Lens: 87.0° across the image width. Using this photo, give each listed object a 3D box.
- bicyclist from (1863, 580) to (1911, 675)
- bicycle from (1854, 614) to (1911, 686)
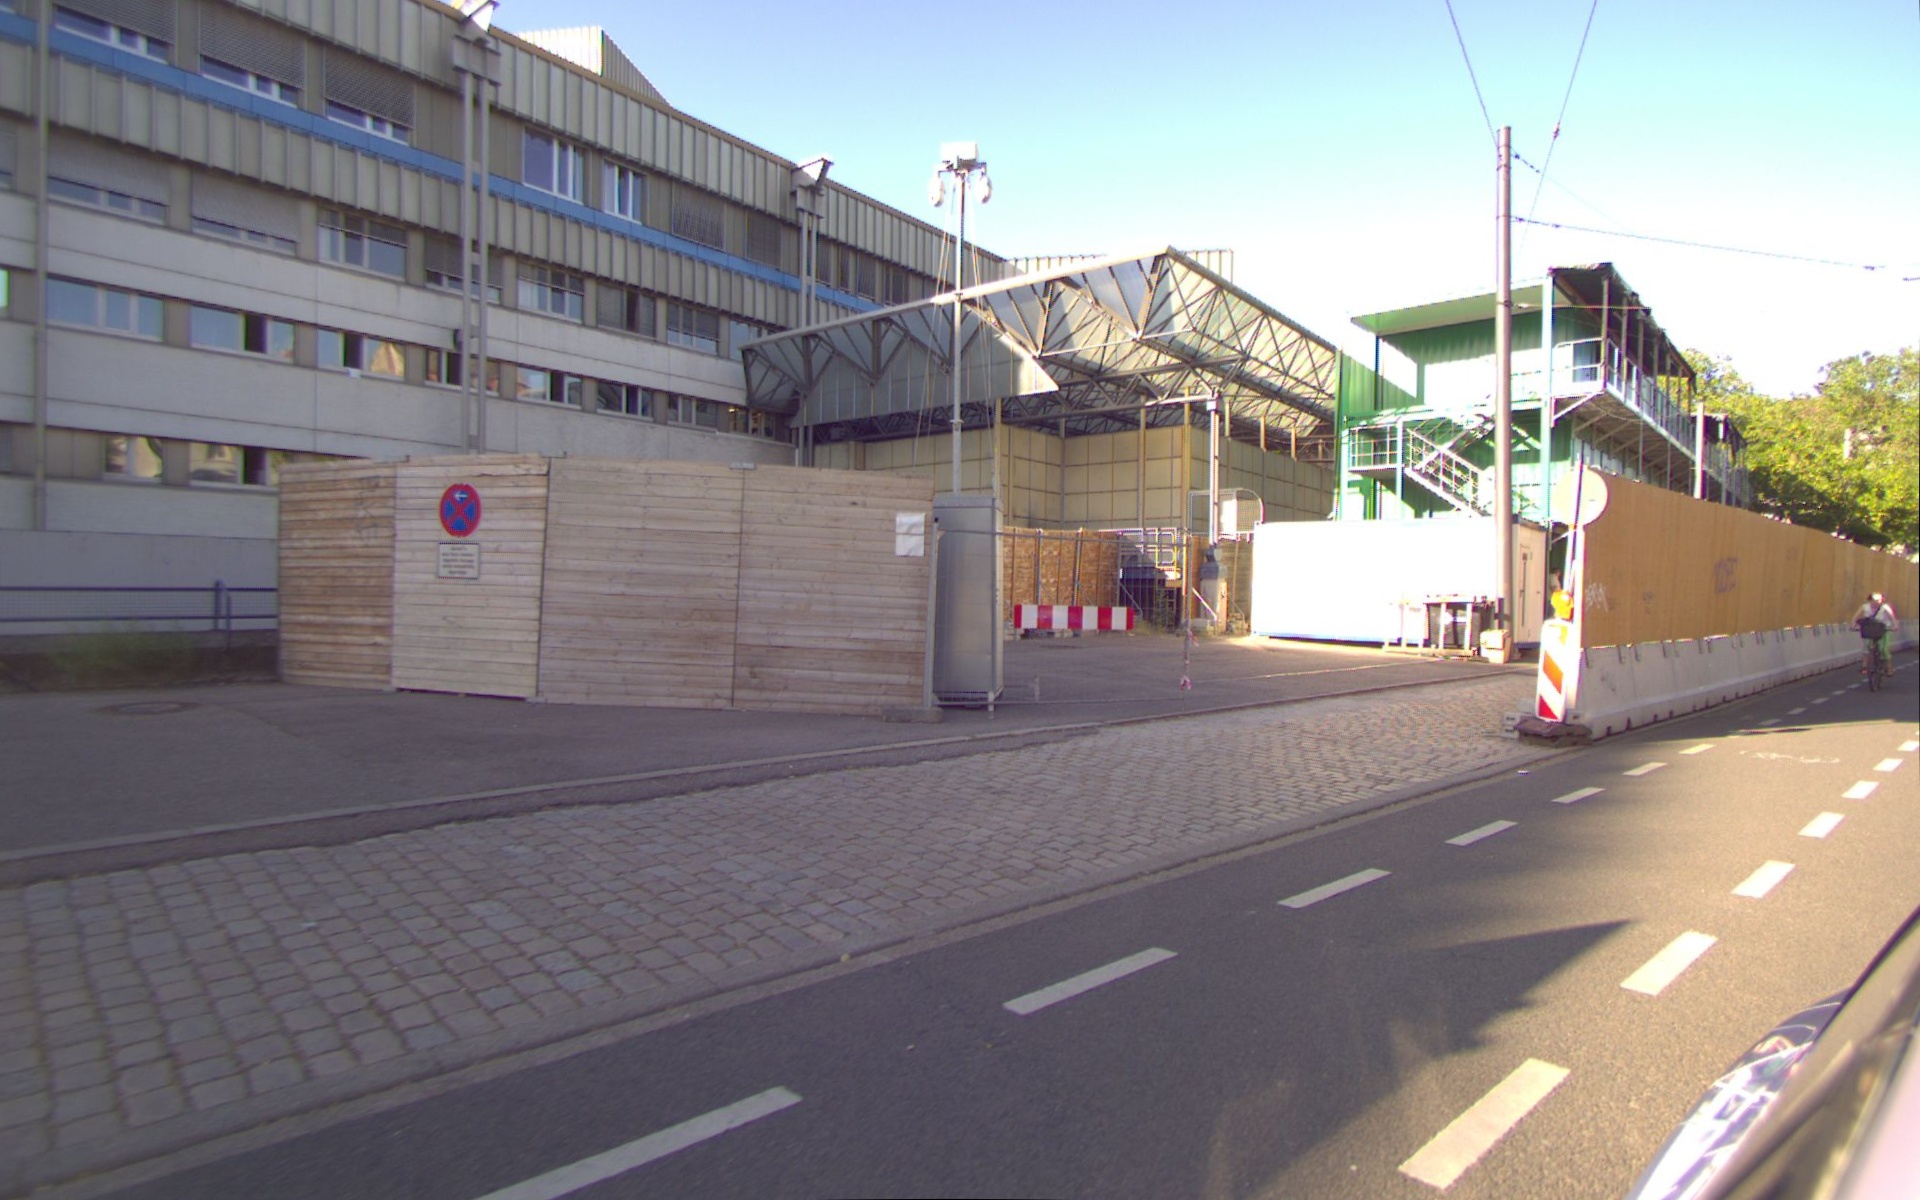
[{"bbox_3d":[16.317,0.461,17.818,0.567,1.633,0.556,0,1,-44],"label":"bicyclist"},{"bbox_3d":[16.185,0.836,17.733,2.237,1.141,0.558,0,0,-43],"label":"bicycle"}]
